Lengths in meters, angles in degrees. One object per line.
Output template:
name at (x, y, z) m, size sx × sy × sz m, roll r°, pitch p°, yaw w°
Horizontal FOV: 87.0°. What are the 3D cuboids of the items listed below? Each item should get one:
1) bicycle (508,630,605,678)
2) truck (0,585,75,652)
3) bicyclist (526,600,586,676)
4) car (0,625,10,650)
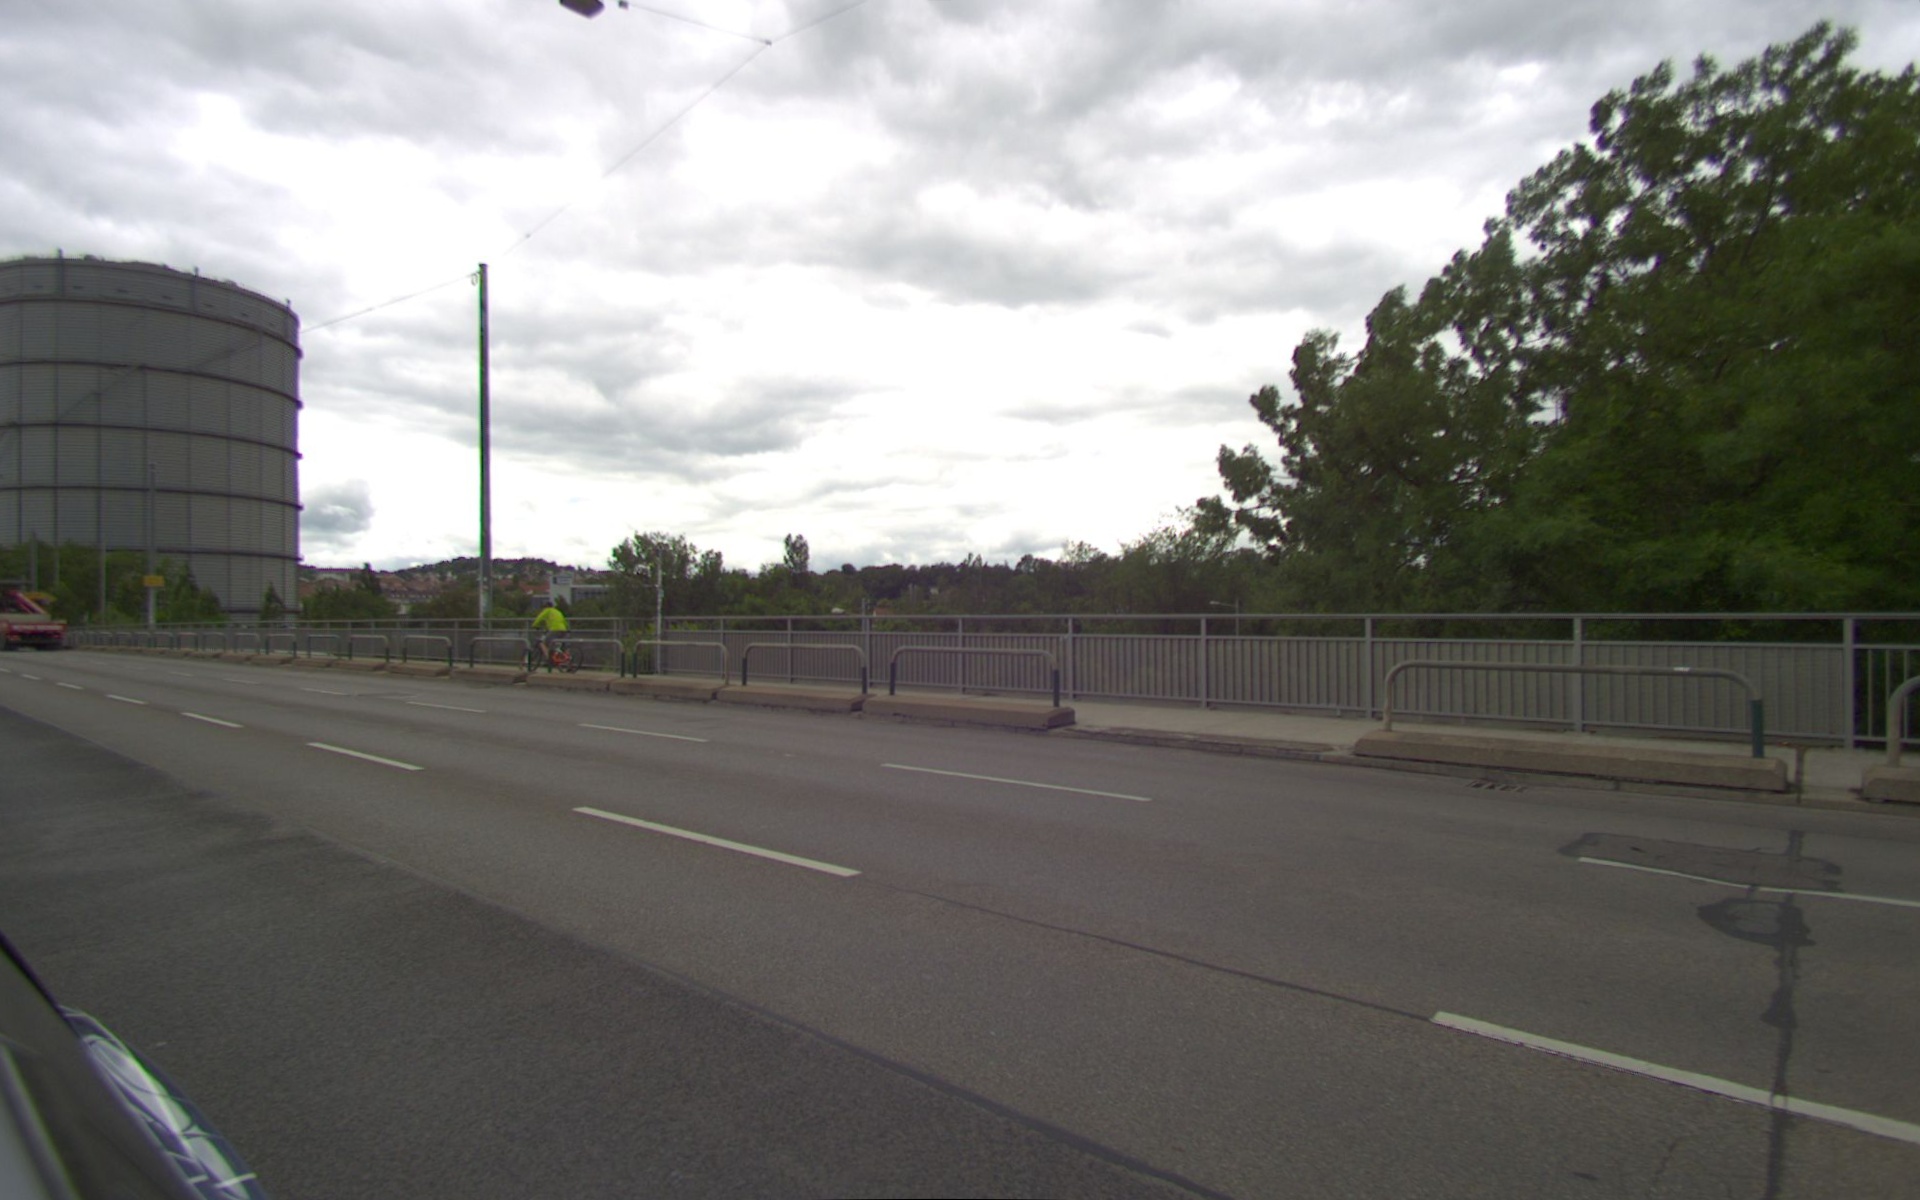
bicycle at (-9.659, 1.274, 24.168) m, size 2.797 × 1.059 × 0.908 m, roll -2°, pitch -2°, yaw 39°
truck at (-54.417, 1.216, 58.869) m, size 9.975 × 3.593 × 2.974 m, roll -3°, pitch -3°, yaw 41°
bicyclist at (-9.646, 0.894, 24.158) m, size 1.135 × 1.778 × 0.894 m, roll -2°, pitch -2°, yaw 39°
car at (-64.079, 2.475, 66.571) m, size 4.013 × 1.615 × 1.860 m, roll -3°, pitch -3°, yaw 41°
